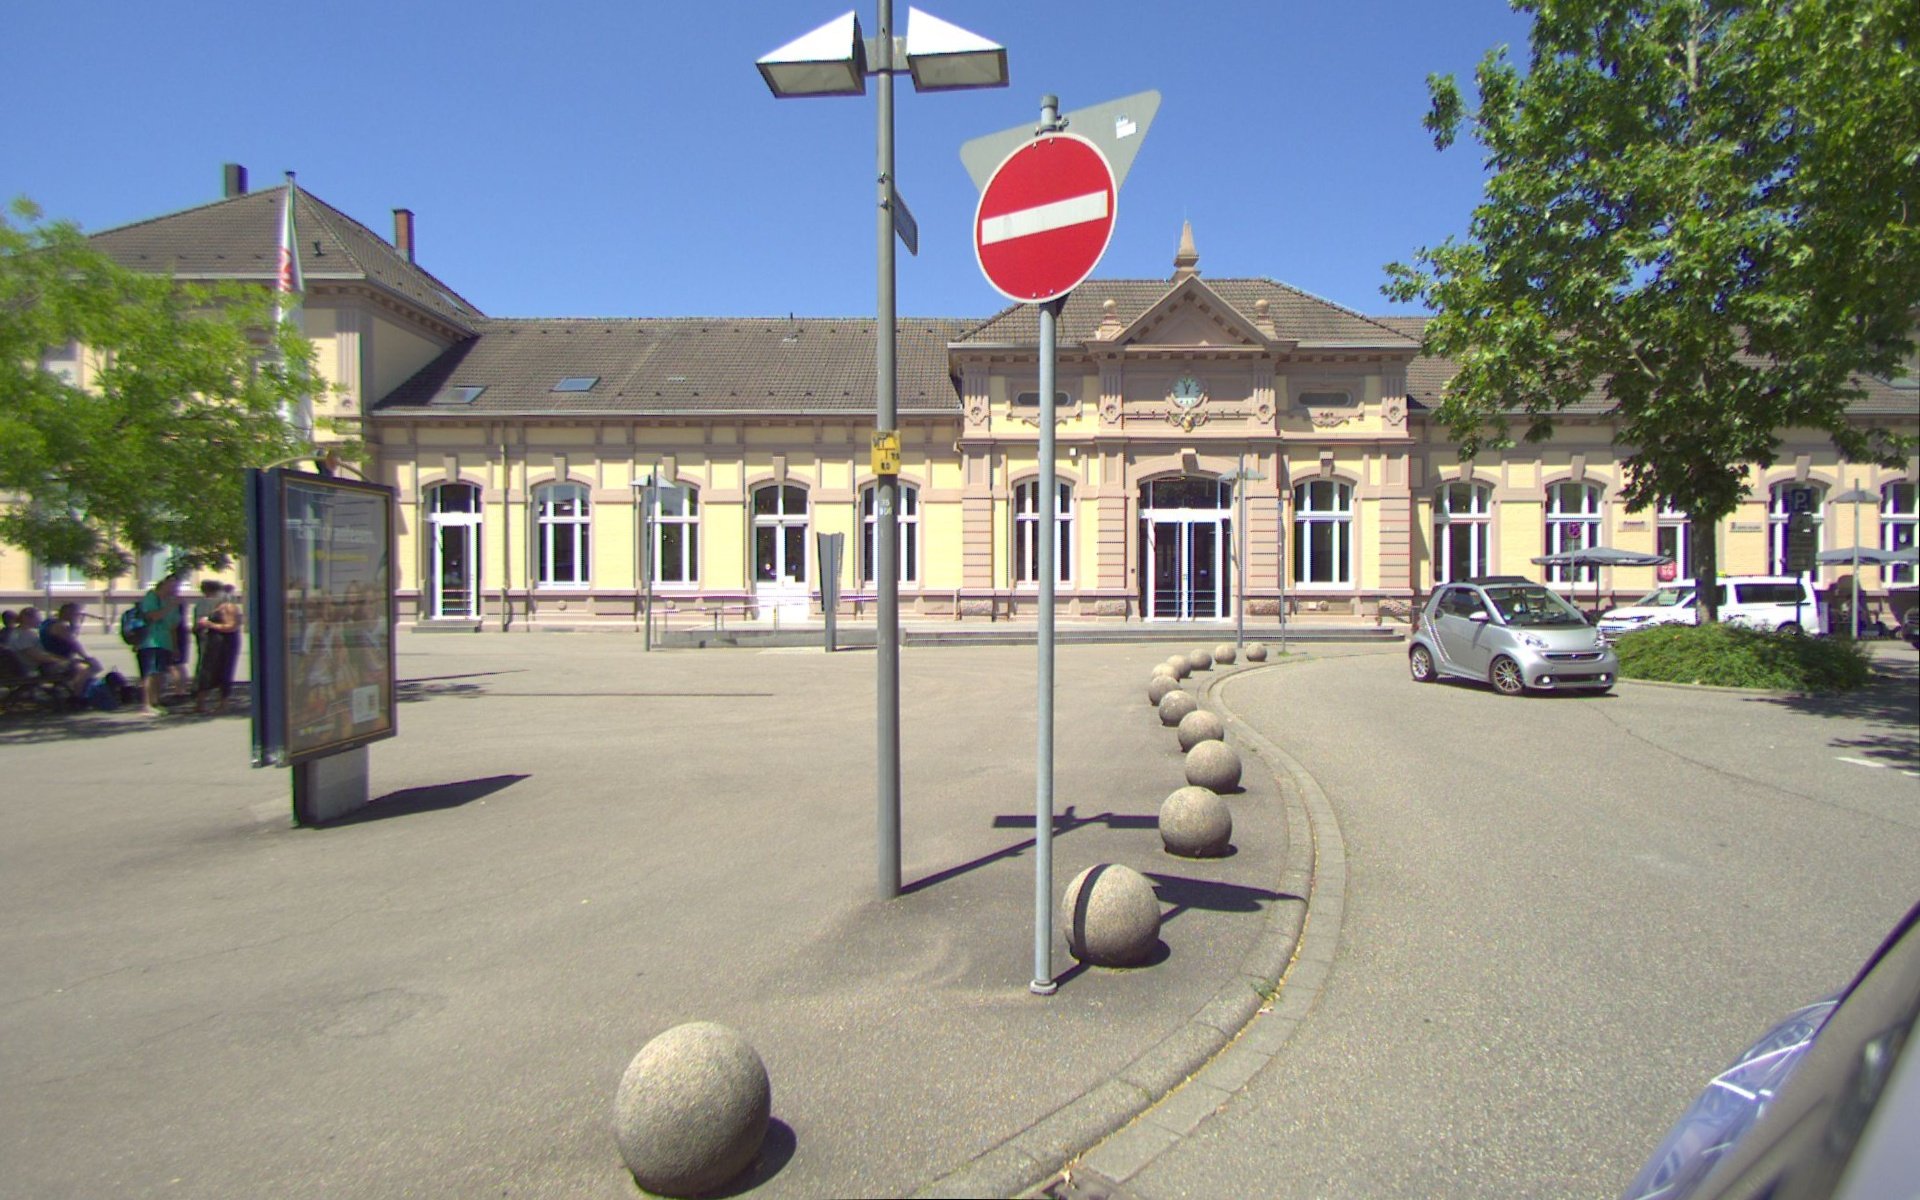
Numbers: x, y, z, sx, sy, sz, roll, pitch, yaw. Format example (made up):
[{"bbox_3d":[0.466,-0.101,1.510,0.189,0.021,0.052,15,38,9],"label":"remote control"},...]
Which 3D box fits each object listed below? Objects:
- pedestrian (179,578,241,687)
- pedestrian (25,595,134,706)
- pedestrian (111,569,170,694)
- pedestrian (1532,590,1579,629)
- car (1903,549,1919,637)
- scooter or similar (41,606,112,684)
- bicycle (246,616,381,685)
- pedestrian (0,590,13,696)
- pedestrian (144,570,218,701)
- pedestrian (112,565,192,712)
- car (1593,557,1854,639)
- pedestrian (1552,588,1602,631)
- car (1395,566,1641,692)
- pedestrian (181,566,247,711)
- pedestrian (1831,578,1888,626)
[{"bbox_3d":[-11.989,0.503,16.196,0.578,1.706,0.620,0,0,-11],"label":"pedestrian"},{"bbox_3d":[-11.796,0.643,13.596,0.925,1.403,0.914,0,1,-29],"label":"pedestrian"},{"bbox_3d":[-11.769,0.436,14.545,0.559,1.761,0.513,0,0,-29],"label":"pedestrian"},{"bbox_3d":[17.449,0.269,29.671,0.835,1.093,0.883,0,2,-3],"label":"pedestrian"},{"bbox_3d":[26.258,-0.143,24.207,5.709,2.151,2.095,1,0,-4],"label":"car"},{"bbox_3d":[-13.688,0.676,15.696,0.288,1.153,1.029,0,1,-7],"label":"scooter or similar"},{"bbox_3d":[-10.451,0.805,16.383,1.911,1.073,0.422,0,0,-1],"label":"bicycle"},{"bbox_3d":[-12.966,0.566,13.327,0.587,1.381,0.600,0,1,-28],"label":"pedestrian"},{"bbox_3d":[-10.724,0.473,13.942,0.588,1.761,0.586,0,0,-6],"label":"pedestrian"},{"bbox_3d":[-10.126,0.461,12.706,0.573,1.786,0.695,0,0,-19],"label":"pedestrian"},{"bbox_3d":[18.593,-0.045,24.781,5.039,1.889,1.815,1,0,-1],"label":"car"},{"bbox_3d":[17.497,0.257,28.730,0.835,1.176,0.883,0,2,-3],"label":"pedestrian"},{"bbox_3d":[7.897,0.341,14.636,1.569,1.613,3.111,0,1,-7],"label":"car"},{"bbox_3d":[-9.387,0.463,12.756,0.536,1.761,0.629,0,0,-25],"label":"pedestrian"},{"bbox_3d":[26.424,0.051,29.748,0.835,1.388,0.883,0,2,-3],"label":"pedestrian"}]
